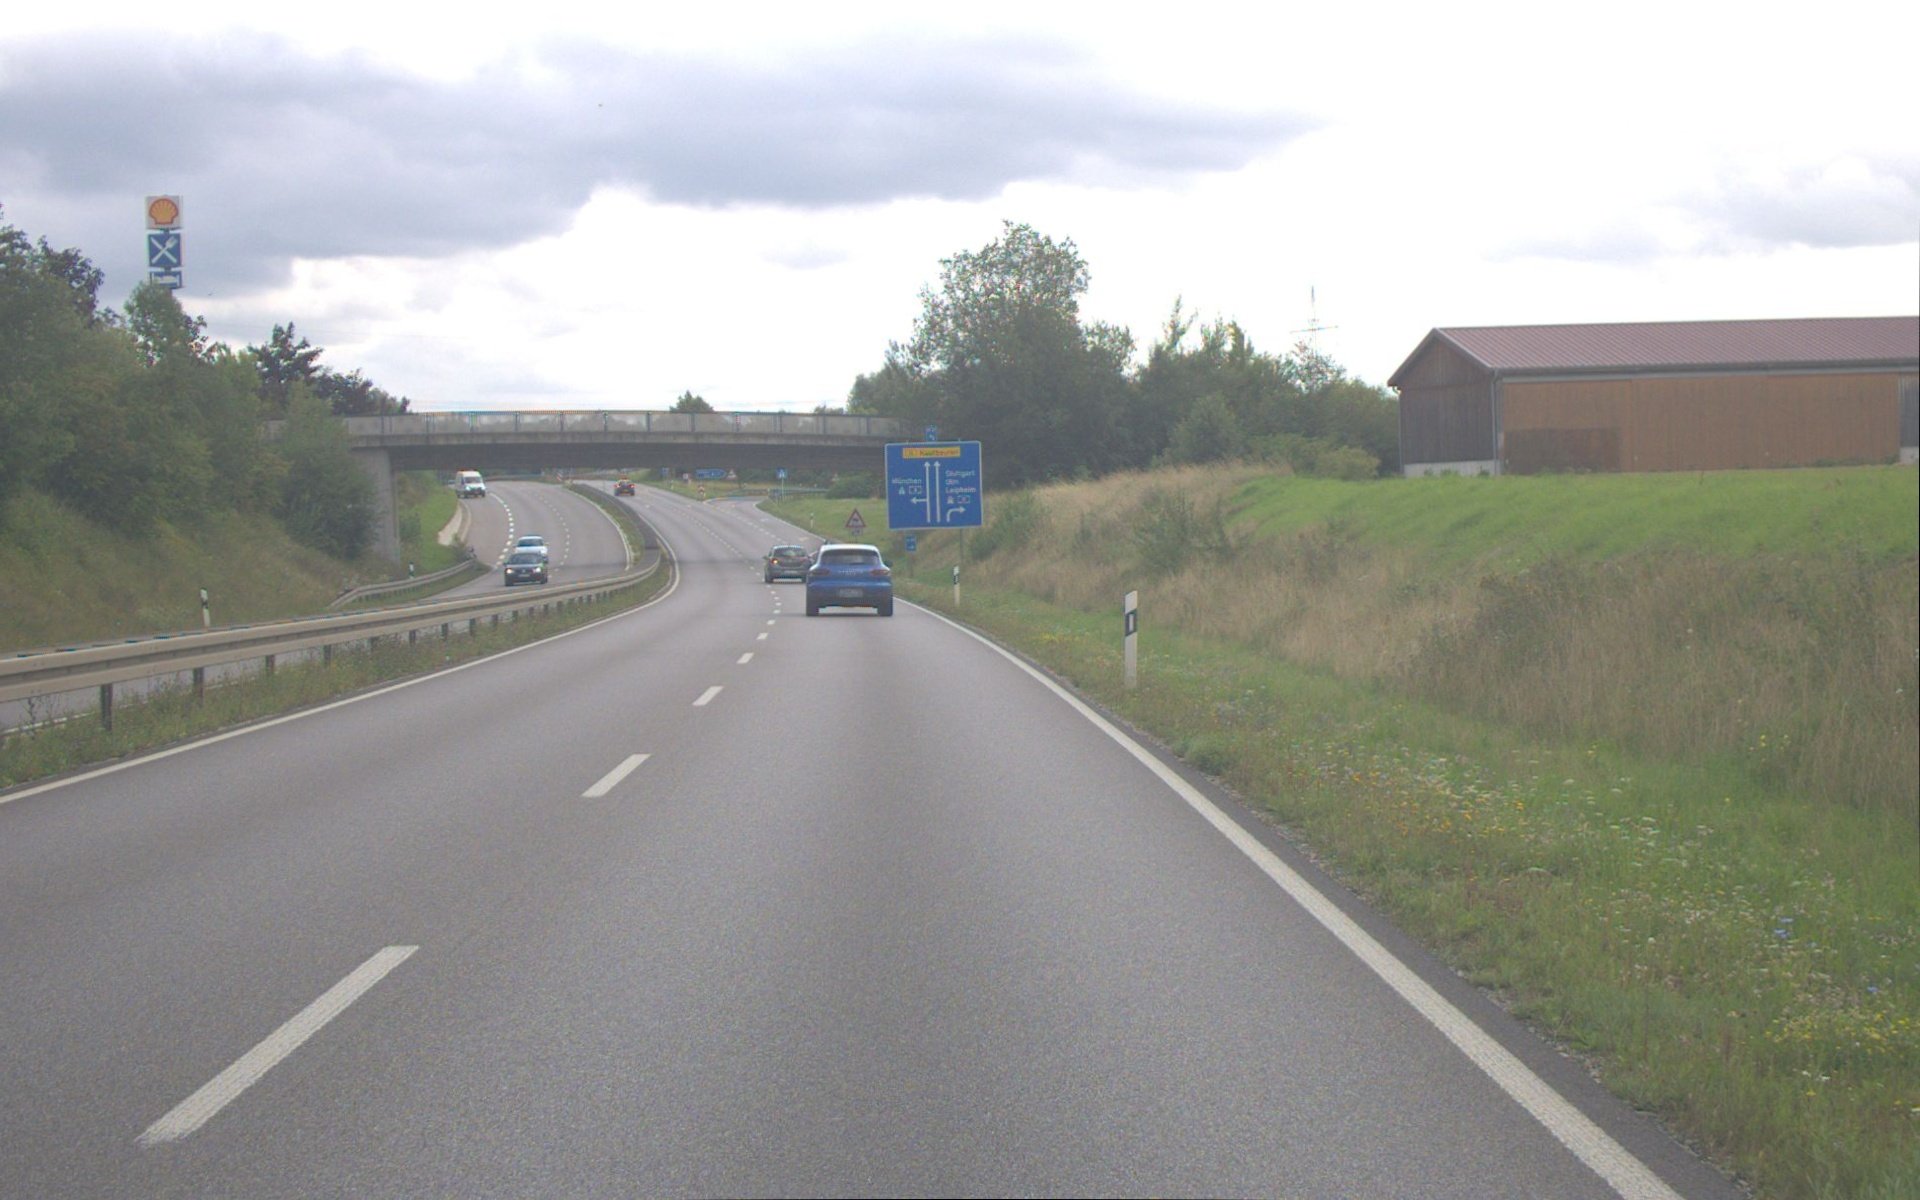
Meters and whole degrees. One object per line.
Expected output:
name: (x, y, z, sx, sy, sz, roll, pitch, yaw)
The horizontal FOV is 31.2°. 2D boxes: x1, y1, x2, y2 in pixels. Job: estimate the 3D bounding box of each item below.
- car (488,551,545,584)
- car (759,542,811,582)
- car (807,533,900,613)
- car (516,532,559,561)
car: (-19.295, -1.418, 149.664, 1.993, 1.300, 4.822, -1, 1, -2)
car: (-6.985, -1.513, 136.829, 1.917, 1.448, 4.365, -1, 2, -4)
car: (-2.394, -0.631, 77.842, 2.033, 1.654, 4.544, 0, 2, -1)
car: (-23.008, -2.900, 187.274, 1.993, 1.448, 4.001, -1, 2, -3)
